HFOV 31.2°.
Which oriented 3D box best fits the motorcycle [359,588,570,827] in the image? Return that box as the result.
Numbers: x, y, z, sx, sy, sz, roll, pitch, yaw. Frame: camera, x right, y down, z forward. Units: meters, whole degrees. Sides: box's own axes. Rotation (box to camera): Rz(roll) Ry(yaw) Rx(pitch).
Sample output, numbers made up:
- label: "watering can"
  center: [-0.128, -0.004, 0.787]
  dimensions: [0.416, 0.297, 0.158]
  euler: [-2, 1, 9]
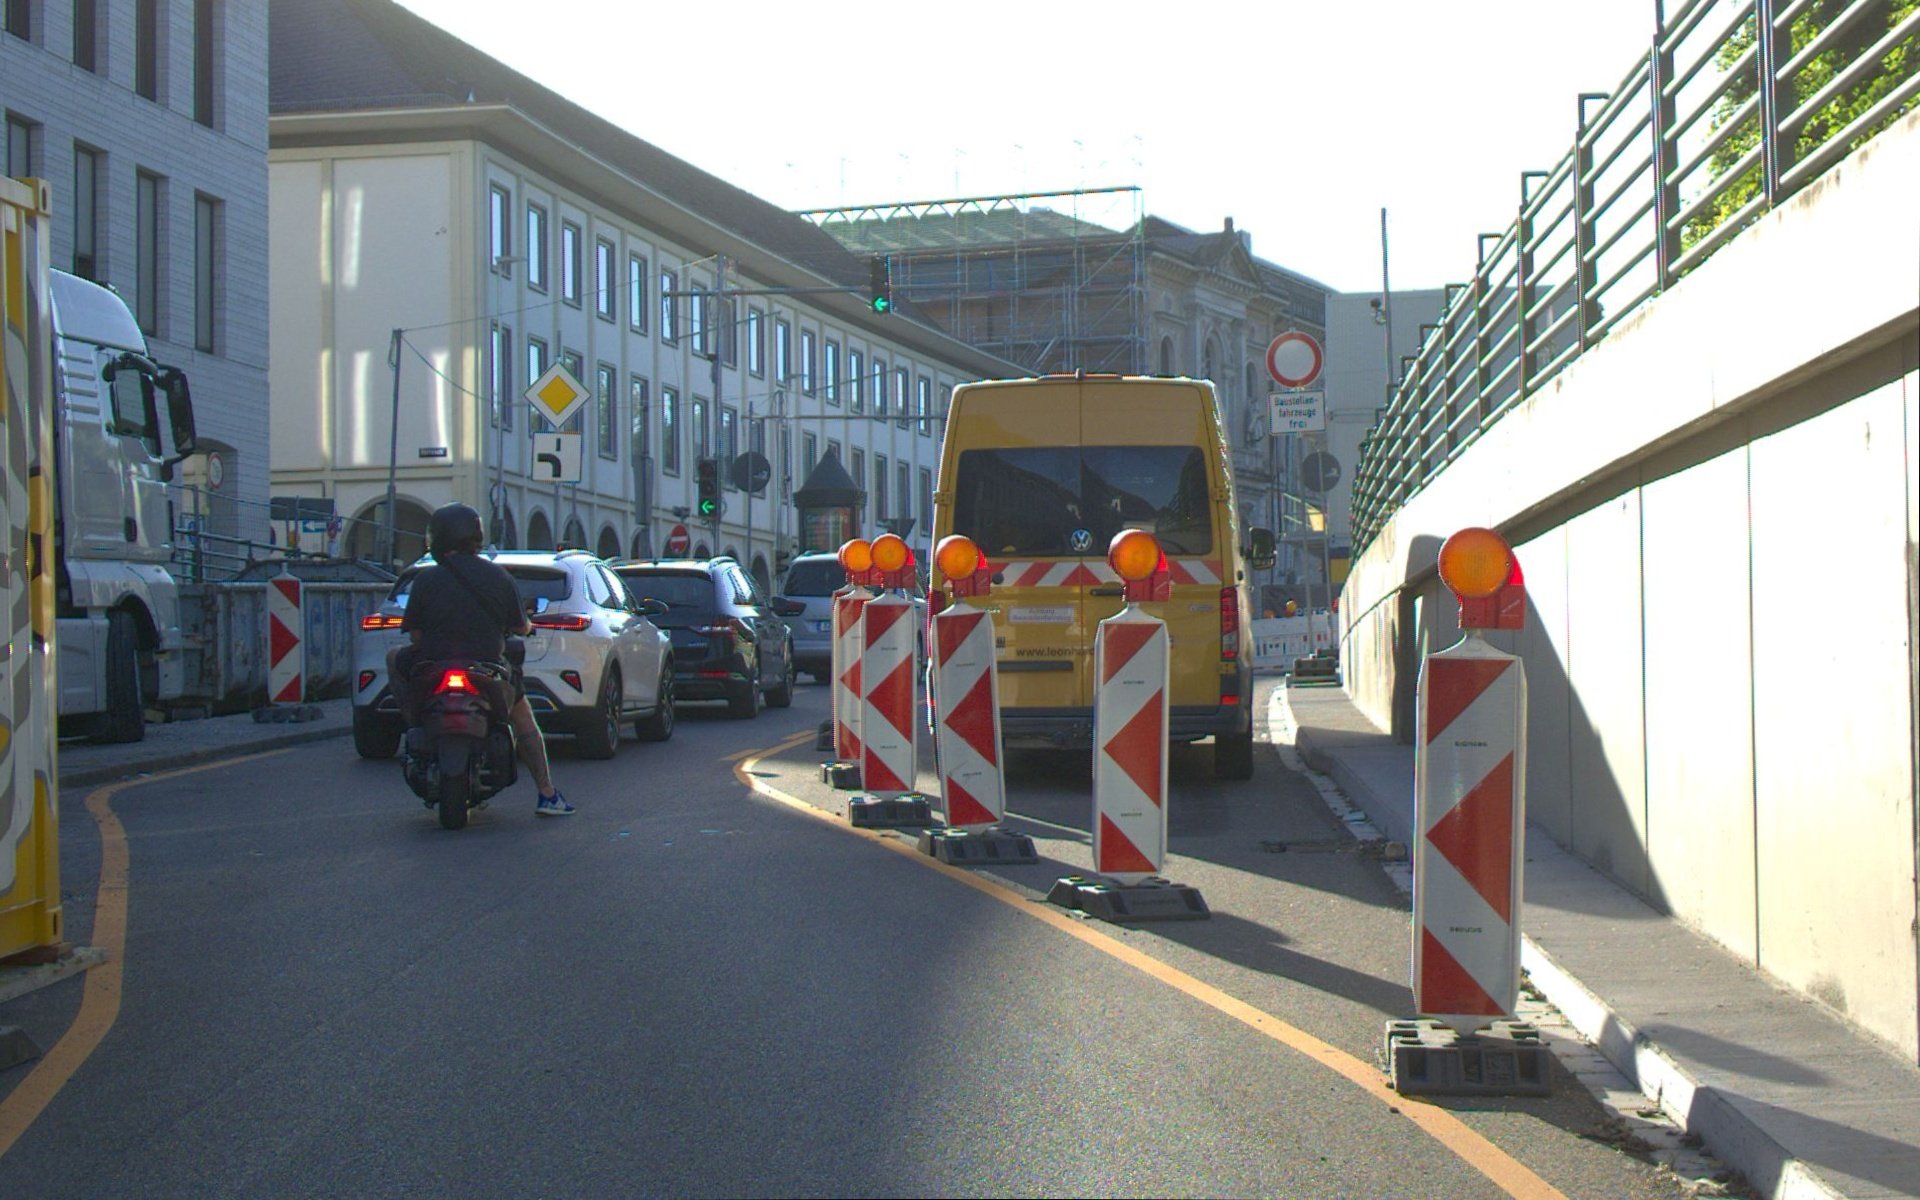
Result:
- label: "motorcycle"
  center: [-2.679, 0.545, 18.858]
  dimensions: [0.905, 1.179, 2.579]
  euler: [0, 1, -3]

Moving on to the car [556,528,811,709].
- label: "car"
  center: [-2.500, 0.206, 31.997]
  dimensions: [1.774, 1.545, 4.105]
  euler: [-1, -1, 4]

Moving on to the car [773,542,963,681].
- label: "car"
  center: [-1.145, 0.111, 44.618]
  dimensions: [1.804, 1.715, 4.162]
  euler: [0, 1, 8]

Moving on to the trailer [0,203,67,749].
- label: "trailer"
  center: [-7.870, -0.720, 19.491]
  dimensions: [2.642, 3.656, 8.748]
  euler: [-4, 0, 3]

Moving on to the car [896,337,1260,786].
- label: "car"
  center: [0.934, -0.250, 23.686]
  dimensions: [2.112, 2.616, 6.986]
  euler: [-1, 0, 4]

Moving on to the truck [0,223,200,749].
- label: "truck"
  center: [-7.505, -0.697, 23.677]
  dimensions: [2.580, 3.477, 5.815]
  euler: [-4, 0, 5]

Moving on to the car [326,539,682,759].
- label: "car"
  center: [-3.273, 0.302, 25.439]
  dimensions: [1.859, 1.467, 4.000]
  euler: [1, 1, 4]

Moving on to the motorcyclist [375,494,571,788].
- label: "motorcyclist"
  center: [-2.649, 0.206, 18.829]
  dimensions: [0.954, 1.554, 1.239]
  euler: [0, 1, -3]
